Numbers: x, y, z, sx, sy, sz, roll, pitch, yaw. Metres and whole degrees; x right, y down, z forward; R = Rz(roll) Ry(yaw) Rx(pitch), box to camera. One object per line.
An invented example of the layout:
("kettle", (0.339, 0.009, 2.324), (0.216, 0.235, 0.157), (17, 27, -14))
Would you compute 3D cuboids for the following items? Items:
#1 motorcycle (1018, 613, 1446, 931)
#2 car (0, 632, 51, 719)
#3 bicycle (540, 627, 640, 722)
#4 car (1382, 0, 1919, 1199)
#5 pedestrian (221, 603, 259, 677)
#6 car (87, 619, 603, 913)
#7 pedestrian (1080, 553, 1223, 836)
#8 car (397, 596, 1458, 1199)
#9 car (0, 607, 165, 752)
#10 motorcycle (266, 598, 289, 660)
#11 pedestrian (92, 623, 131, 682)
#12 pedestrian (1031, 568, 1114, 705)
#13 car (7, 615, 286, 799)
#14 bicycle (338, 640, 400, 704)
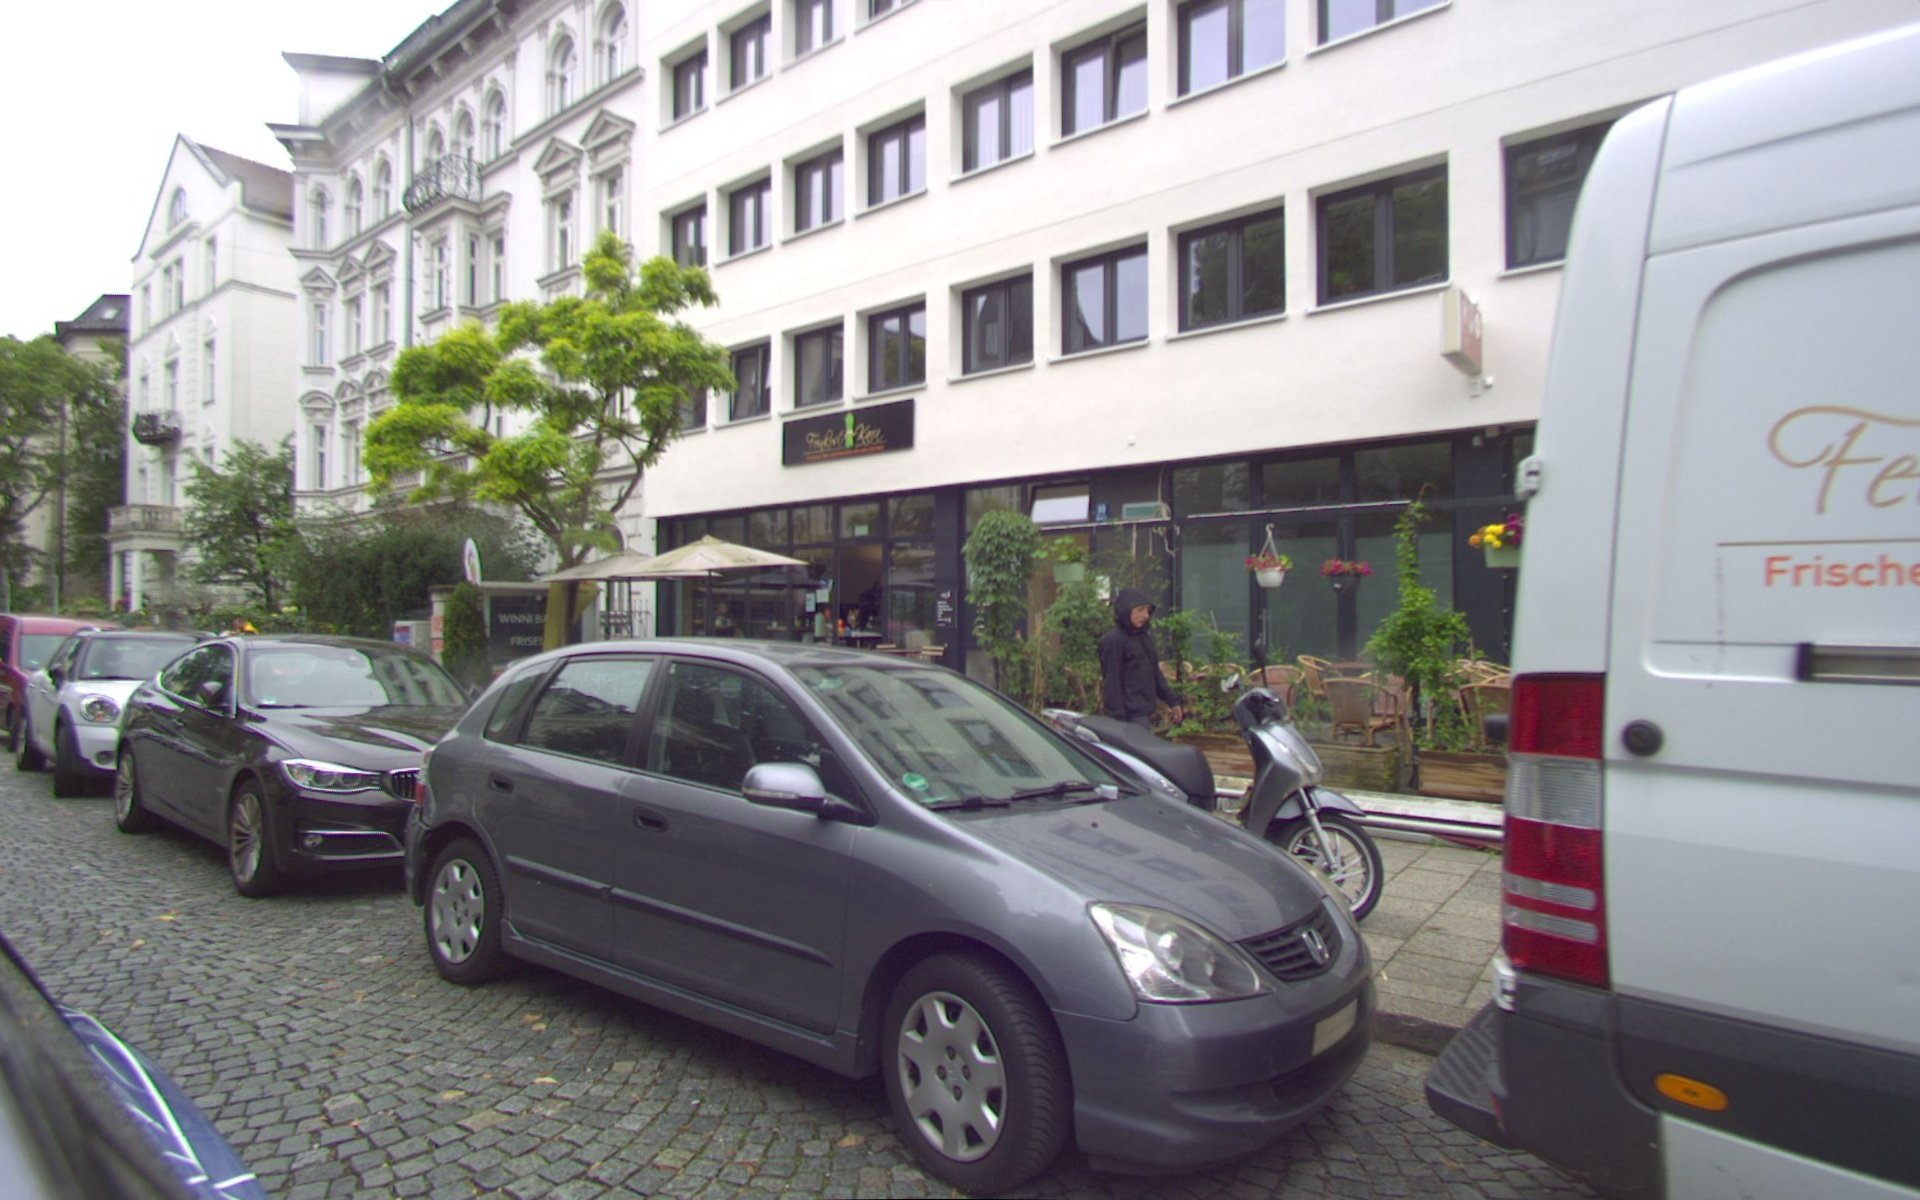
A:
("motorcycle", (1.350, 0.768, 5.303), (2.055, 1.379, 0.668), (-1, 0, 36))
("car", (-17.476, 1.296, 17.730), (3.809, 1.404, 1.616), (-1, 0, 37))
("bicycle", (-4.950, 0.958, 13.490), (1.910, 1.183, 0.357), (-1, -1, 41))
("car", (3.674, 0.117, 0.896), (5.789, 2.594, 1.957), (-1, -3, 40))
("pedestrian", (-16.597, 0.920, 23.325), (0.569, 1.659, 0.822), (1, -2, -45))
("car", (-4.550, 0.914, 7.186), (4.468, 1.476, 1.708), (-2, -3, 39))
("pedestrian", (1.346, 0.623, 7.099), (0.811, 1.854, 0.609), (-1, -1, 32))
("car", (-0.398, 0.764, 3.946), (3.974, 1.494, 1.646), (-1, 0, 36))
("car", (-12.612, 1.001, 13.969), (3.893, 1.736, 1.701), (-1, -2, 38))
("motorcycle", (-13.641, 0.572, 20.213), (0.326, 1.188, 1.629), (0, 0, -36))
("pedestrian", (-24.152, 1.478, 28.811), (0.655, 1.640, 0.671), (-1, 0, -20))
("pedestrian", (1.429, 0.457, 12.878), (0.783, 1.673, 0.549), (-4, 0, 41))
("car", (-8.471, 0.934, 10.423), (3.776, 1.515, 1.675), (-1, 0, 42))
("bicycle", (-10.579, 1.281, 18.101), (1.682, 1.087, 0.255), (-3, -1, 35))
